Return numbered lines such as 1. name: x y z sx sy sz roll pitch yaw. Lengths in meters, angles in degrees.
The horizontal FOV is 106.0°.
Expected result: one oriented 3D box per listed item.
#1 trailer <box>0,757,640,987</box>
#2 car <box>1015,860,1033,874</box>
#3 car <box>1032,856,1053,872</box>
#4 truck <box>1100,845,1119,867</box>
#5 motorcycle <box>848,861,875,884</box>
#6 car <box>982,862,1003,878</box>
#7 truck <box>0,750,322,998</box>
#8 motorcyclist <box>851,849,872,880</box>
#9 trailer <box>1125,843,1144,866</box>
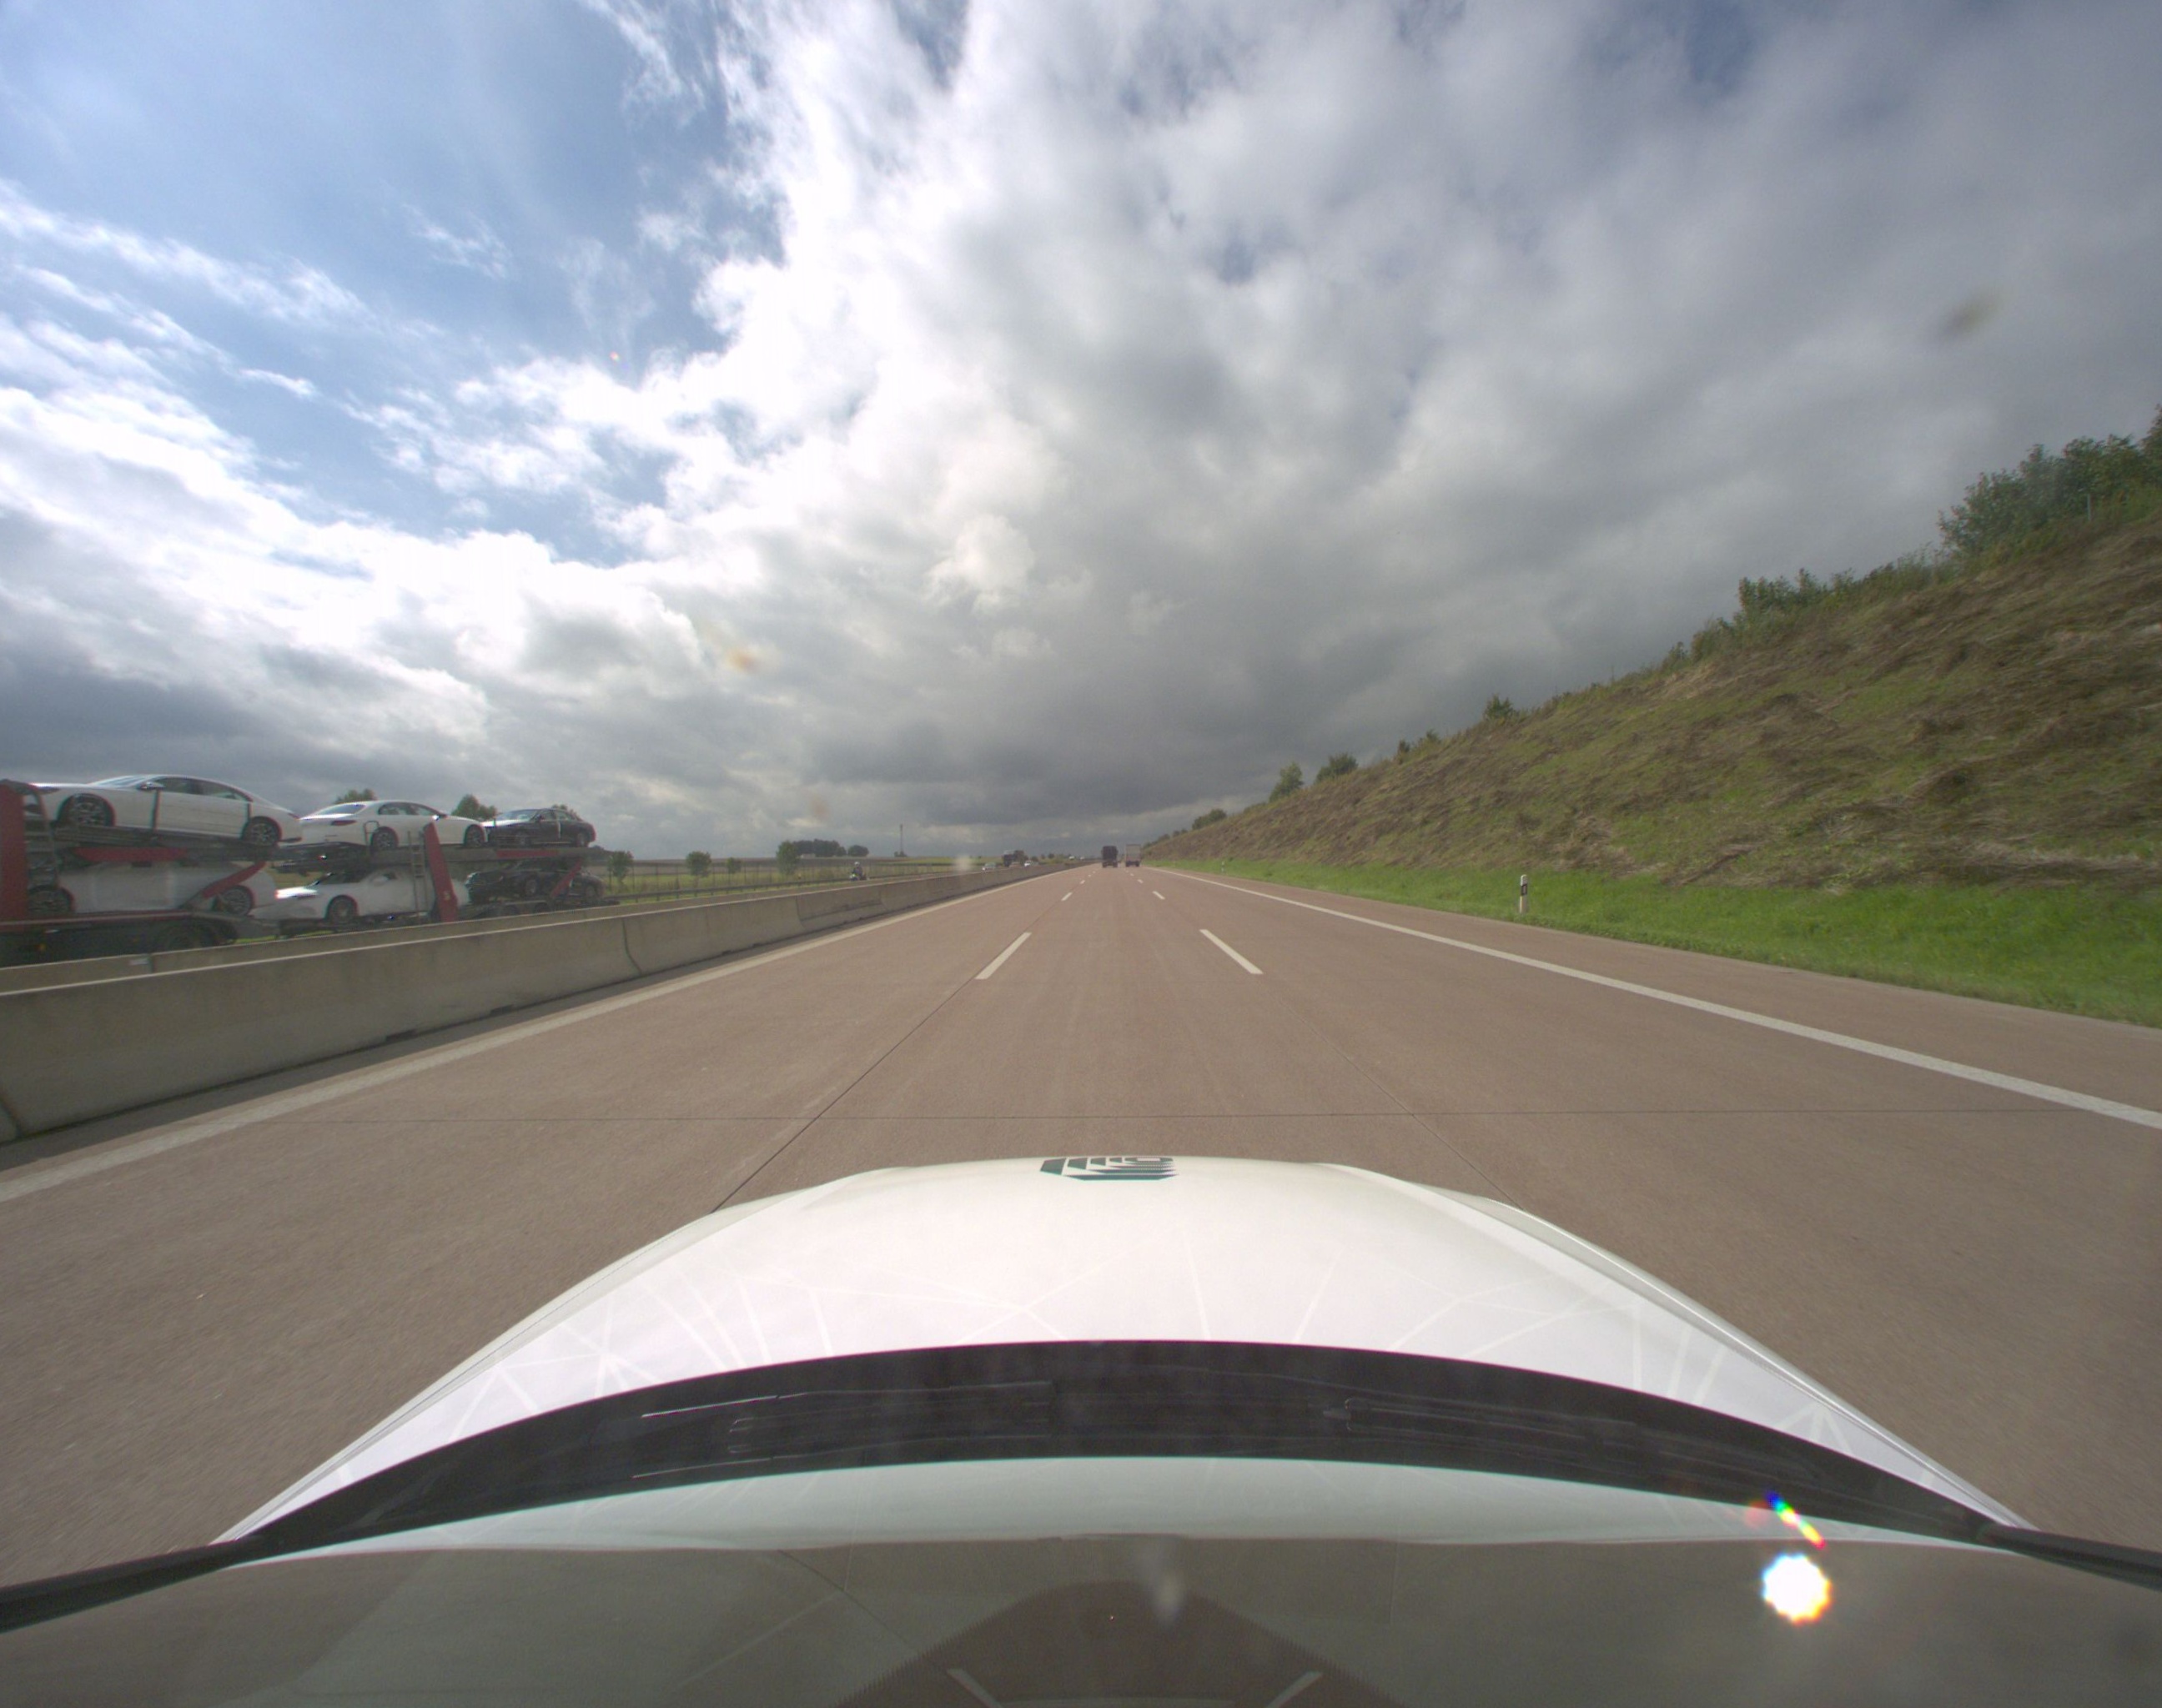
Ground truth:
1. trailer: -18.491 0.331 22.330 3.181 3.978 16.337 0 0 3
2. car: -4.981 1.144 71.330 1.218 1.152 2.759 0 0 2
3. car: -4.191 1.040 88.402 1.965 1.662 4.083 0 0 2
4. truck: 4.776 0.322 137.163 2.838 3.550 8.318 -1 -1 0
5. motorcycle: -13.197 1.094 49.044 0.923 1.303 2.344 0 0 3
6. car: -11.492 2.031 105.984 1.978 2.014 5.053 0 -1 2
7. truck: -18.873 0.324 14.514 3.181 3.978 7.735 0 0 3
8. motorcyclist: -13.197 0.633 48.998 1.005 1.861 0.744 0 -1 3
9. trailer: 9.487 0.203 145.848 2.738 4.012 8.669 -1 -1 0
